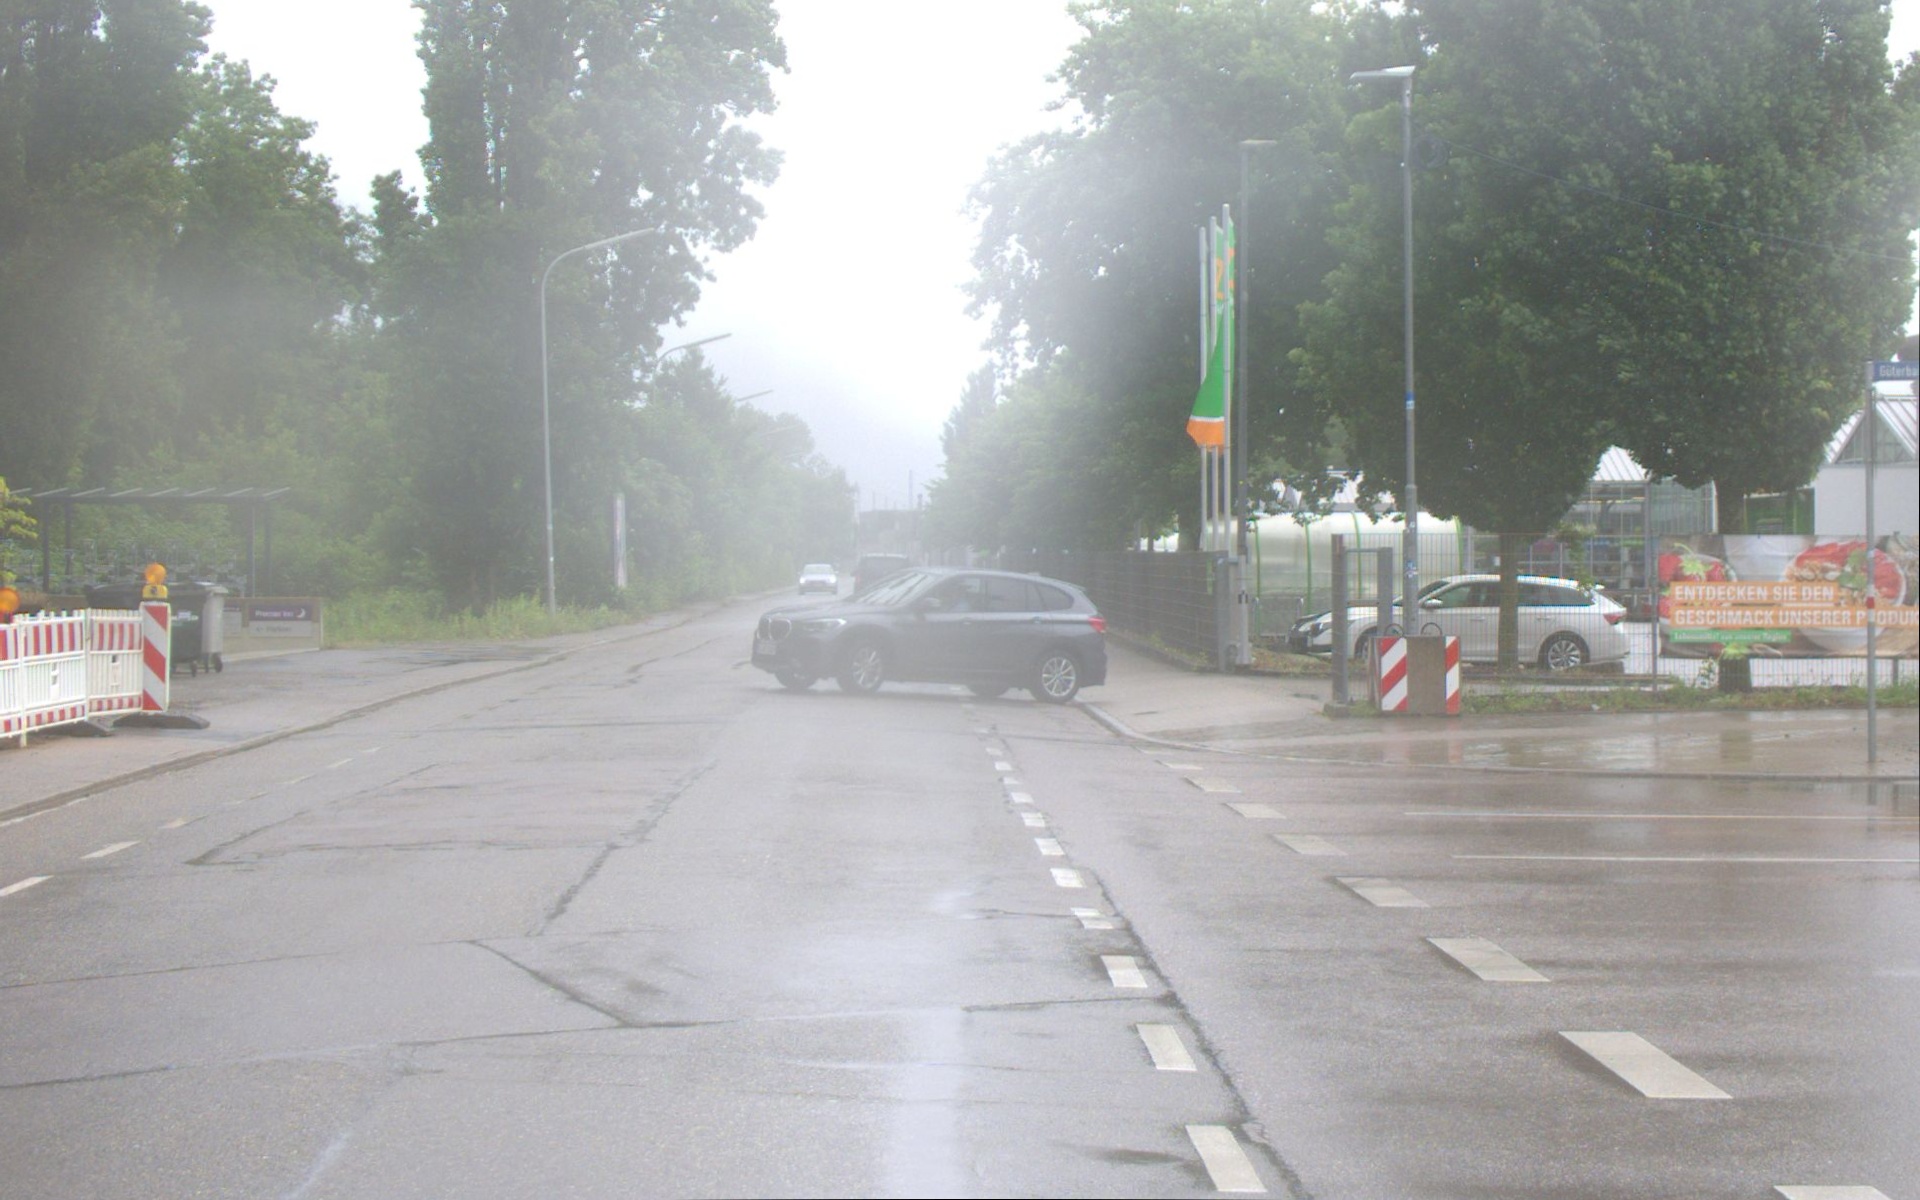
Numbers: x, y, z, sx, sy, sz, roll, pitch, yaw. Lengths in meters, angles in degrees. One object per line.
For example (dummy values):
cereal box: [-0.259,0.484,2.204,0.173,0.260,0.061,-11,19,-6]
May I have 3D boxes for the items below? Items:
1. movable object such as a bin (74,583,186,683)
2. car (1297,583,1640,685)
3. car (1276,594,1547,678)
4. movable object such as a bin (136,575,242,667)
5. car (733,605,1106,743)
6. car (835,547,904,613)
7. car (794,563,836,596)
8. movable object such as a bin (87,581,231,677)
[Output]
movable object such as a bin: [-11.157,0.433,46.255,1.295,1.304,1.449,-1,1,-7]
car: [7.429,0.483,50.509,4.702,1.457,1.891,0,1,-2]
car: [6.979,0.548,53.353,3.938,1.252,1.619,0,0,-2]
movable object such as a bin: [-11.356,0.299,50.698,1.295,1.327,1.358,0,1,-2]
car: [-0.477,0.866,41.358,4.135,1.563,1.765,0,-1,-29]
car: [-2.740,-0.585,103.867,1.993,1.904,4.201,-1,0,-2]
car: [-6.868,-0.982,163.131,1.733,1.445,4.381,-3,1,0]
movable object such as a bin: [-11.203,0.396,48.113,1.376,1.304,1.447,0,1,21]
